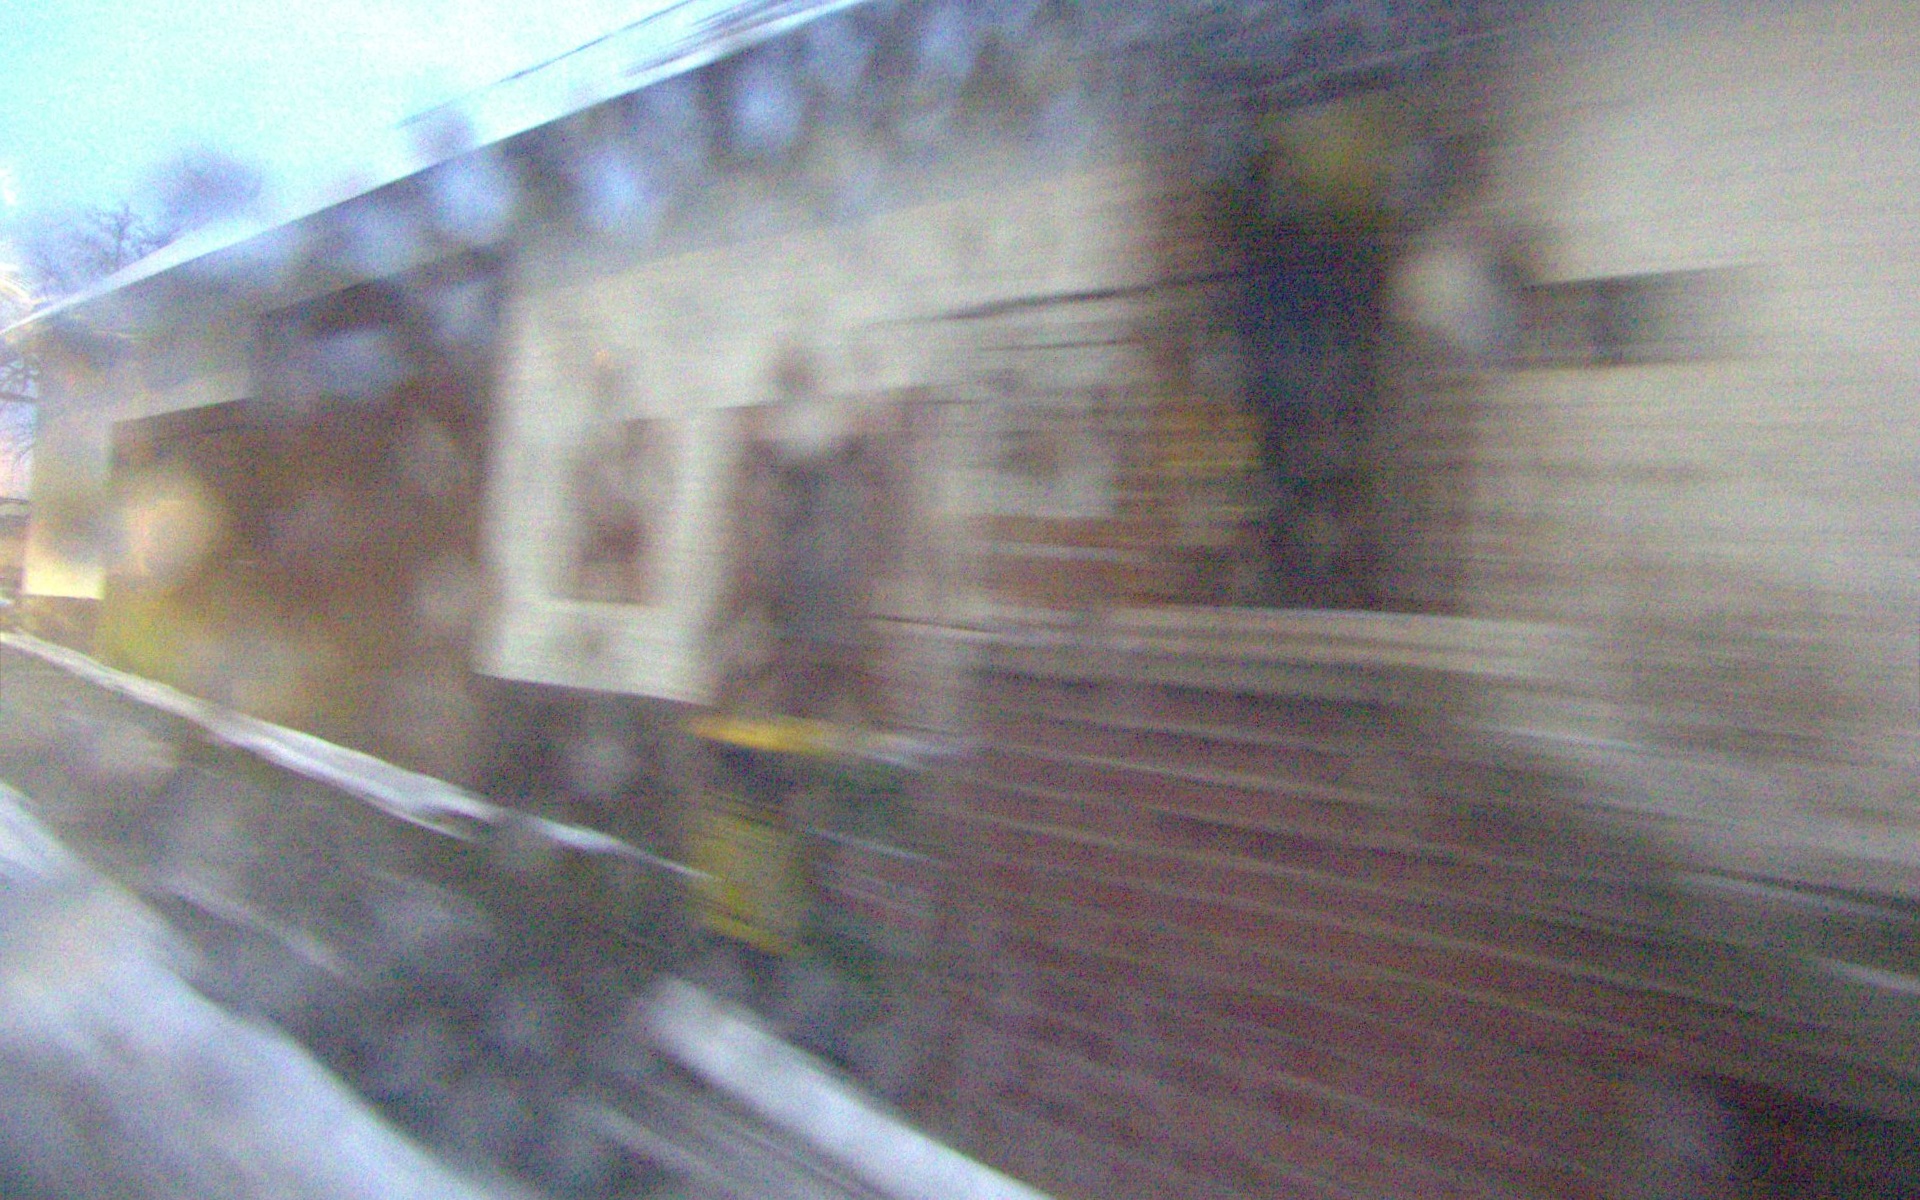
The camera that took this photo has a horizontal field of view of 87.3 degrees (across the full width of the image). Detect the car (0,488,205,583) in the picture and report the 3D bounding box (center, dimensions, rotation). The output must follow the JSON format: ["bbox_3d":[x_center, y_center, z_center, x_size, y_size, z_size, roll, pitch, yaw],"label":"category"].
[{"bbox_3d":[-20.323,-1.528,23.114,4.444,1.396,2.011,13,-5,-43],"label":"car"}]

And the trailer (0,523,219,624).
[{"bbox_3d":[-11.419,-0.391,12.446,3.924,0.958,1.549,6,1,17],"label":"trailer"}]
